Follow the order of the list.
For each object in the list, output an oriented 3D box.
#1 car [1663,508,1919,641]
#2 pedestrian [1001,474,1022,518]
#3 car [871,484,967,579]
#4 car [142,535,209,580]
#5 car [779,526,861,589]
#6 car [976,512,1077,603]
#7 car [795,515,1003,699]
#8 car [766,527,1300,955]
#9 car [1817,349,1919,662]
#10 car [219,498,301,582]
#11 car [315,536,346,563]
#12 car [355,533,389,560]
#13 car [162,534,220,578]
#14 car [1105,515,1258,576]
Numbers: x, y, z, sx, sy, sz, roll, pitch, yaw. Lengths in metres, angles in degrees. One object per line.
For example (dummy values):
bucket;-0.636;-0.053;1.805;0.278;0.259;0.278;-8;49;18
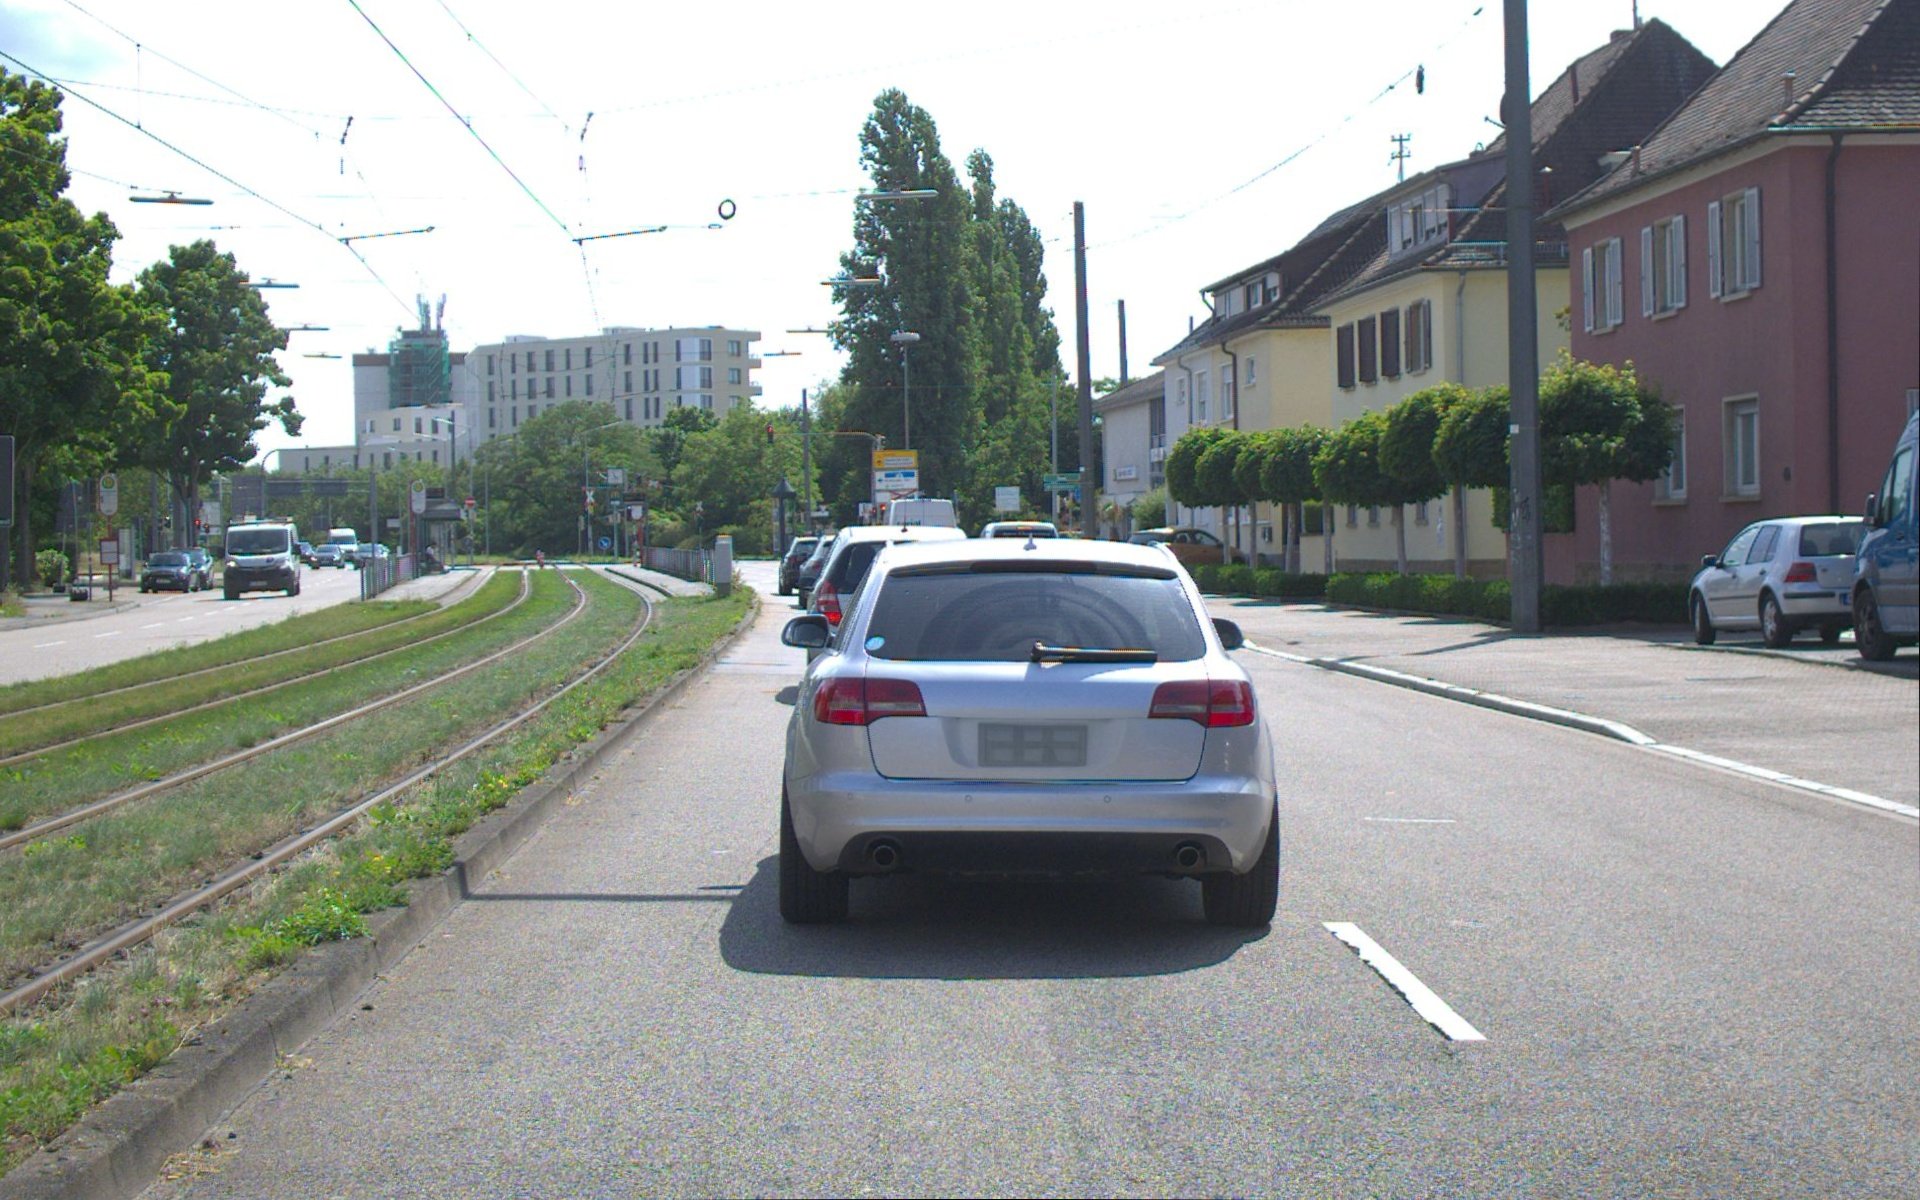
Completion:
car;9.521;-0.304;39.279;1.648;1.404;4.351;-1;1;-6
pedestrian;2.161;-4.379;144.715;0.721;1.776;0.703;-3;1;-4
car;-1.168;-1.909;95.337;2.040;2.549;5.232;-1;1;-7
car;-28.145;-1.538;123.444;1.786;1.578;3.931;-1;1;-5
car;-3.458;-1.054;85.670;1.885;1.525;4.094;1;1;0
car;1.362;-0.873;68.817;1.885;1.725;4.094;-1;1;2
car;-0.580;0.020;32.294;1.787;1.571;4.095;1;1;-1
car;0.274;0.446;14.247;1.854;1.487;4.536;0;1;1
car;10.013;-0.879;32.380;2.151;2.920;6.245;1;1;-1
car;-20.828;-1.776;102.410;2.196;2.364;5.334;-2;1;-10
car;-39.257;-3.163;214.471;1.862;1.645;4.001;0;1;-11
car;-34.379;-3.110;201.006;1.896;1.536;3.730;0;1;-11
car;-28.994;-1.673;129.622;2.059;1.608;4.755;-1;1;-12
car;5.939;-1.472;91.884;1.914;1.453;4.083;1;4;43
